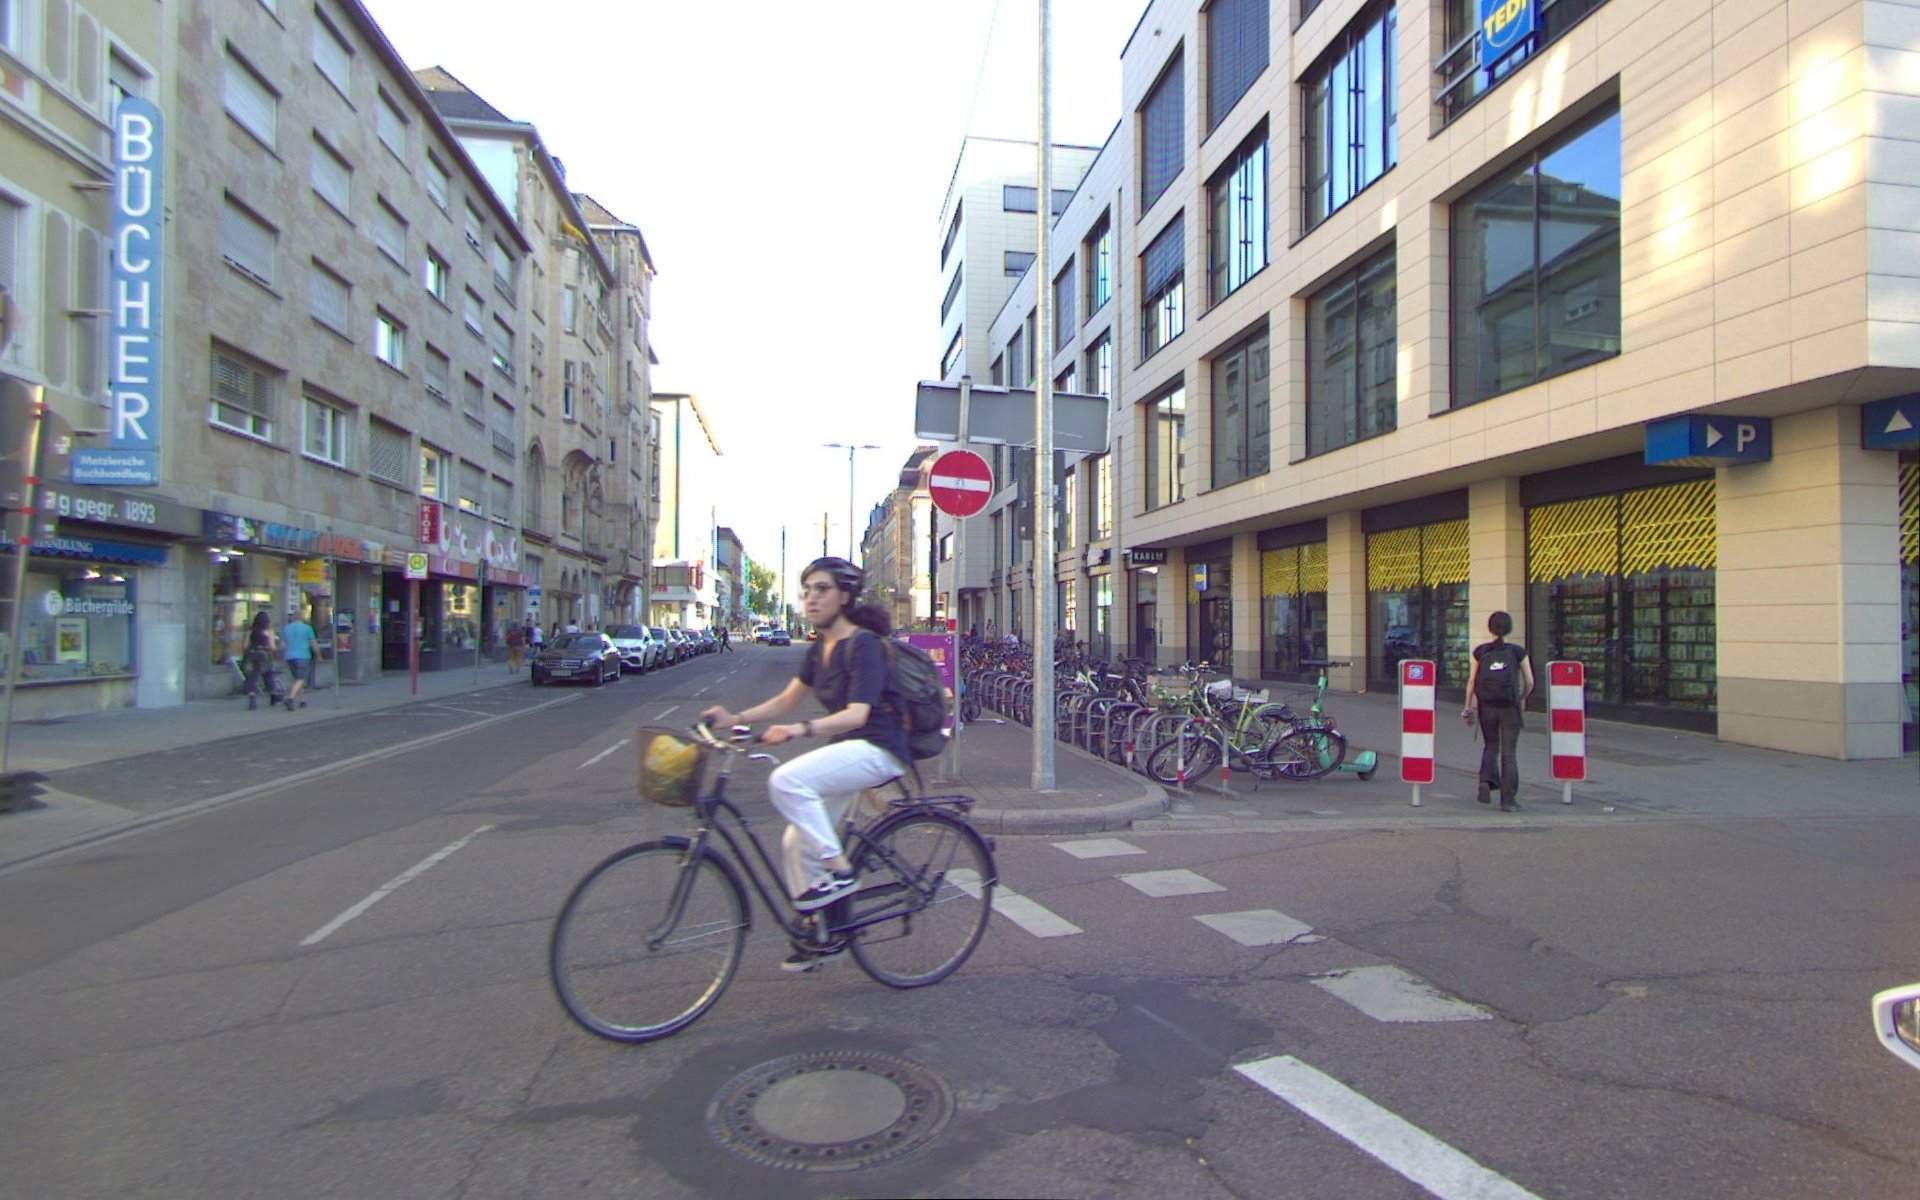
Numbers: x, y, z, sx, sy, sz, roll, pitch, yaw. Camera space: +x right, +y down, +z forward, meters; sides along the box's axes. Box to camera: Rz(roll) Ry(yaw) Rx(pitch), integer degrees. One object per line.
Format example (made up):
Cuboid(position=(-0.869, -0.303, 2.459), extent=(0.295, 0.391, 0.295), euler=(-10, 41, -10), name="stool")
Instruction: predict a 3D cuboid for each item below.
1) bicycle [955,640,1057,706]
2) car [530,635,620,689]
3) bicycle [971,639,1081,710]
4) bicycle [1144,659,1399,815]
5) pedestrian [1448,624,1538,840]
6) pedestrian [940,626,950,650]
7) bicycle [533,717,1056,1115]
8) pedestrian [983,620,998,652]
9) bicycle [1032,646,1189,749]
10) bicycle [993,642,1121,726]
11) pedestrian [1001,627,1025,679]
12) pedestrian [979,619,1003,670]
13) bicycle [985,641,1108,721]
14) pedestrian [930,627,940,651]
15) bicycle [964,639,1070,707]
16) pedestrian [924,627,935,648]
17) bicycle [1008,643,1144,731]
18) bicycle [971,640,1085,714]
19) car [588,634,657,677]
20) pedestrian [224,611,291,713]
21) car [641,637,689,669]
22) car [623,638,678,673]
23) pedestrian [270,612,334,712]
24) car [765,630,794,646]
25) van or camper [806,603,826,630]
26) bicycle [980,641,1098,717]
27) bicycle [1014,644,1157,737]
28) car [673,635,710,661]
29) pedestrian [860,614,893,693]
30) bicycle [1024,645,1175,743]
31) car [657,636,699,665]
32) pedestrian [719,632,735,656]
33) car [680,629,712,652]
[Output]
Cuboid(position=(0.903, 1.451, 19.939), extent=(1.944, 1.271, 0.512), euler=(1, -1, -11), name="bicycle")
Cuboid(position=(-11.065, 1.743, 29.118), extent=(1.831, 1.409, 3.991), euler=(0, -2, -12), name="car")
Cuboid(position=(1.222, 1.379, 18.551), extent=(1.944, 1.271, 0.512), euler=(1, -1, -11), name="bicycle")
Cuboid(position=(2.745, 1.176, 8.881), extent=(2.104, 1.271, 0.664), euler=(1, -1, -13), name="bicycle")
Cuboid(position=(4.460, 1.044, 8.391), extent=(0.608, 1.680, 0.870), euler=(0, -1, 32), name="pedestrian")
Cuboid(position=(-1.074, 2.735, 71.859), extent=(0.672, 1.718, 0.643), euler=(0, -1, -10), name="pedestrian")
Cuboid(position=(-0.598, 1.062, 3.777), extent=(1.794, 1.153, 0.663), euler=(1, -1, -21), name="bicycle")
Cuboid(position=(1.659, 1.940, 54.533), extent=(0.672, 1.718, 0.643), euler=(0, -1, -10), name="pedestrian")
Cuboid(position=(1.949, 1.253, 13.021), extent=(1.944, 1.271, 0.512), euler=(1, -1, -11), name="bicycle")
Cuboid(position=(1.535, 1.320, 15.878), extent=(1.945, 1.271, 0.512), euler=(1, -1, -13), name="bicycle")
Cuboid(position=(1.758, 1.759, 33.369), extent=(0.672, 1.718, 0.643), euler=(0, -1, -10), name="pedestrian")
Cuboid(position=(1.036, 1.492, 33.767), extent=(0.672, 1.718, 0.643), euler=(0, -1, -10), name="pedestrian")
Cuboid(position=(1.417, 1.328, 16.498), extent=(1.944, 1.271, 0.512), euler=(1, -1, -11), name="bicycle")
Cuboid(position=(-1.788, 2.797, 71.549), extent=(0.672, 1.682, 0.643), euler=(0, -1, -10), name="pedestrian")
Cuboid(position=(1.085, 1.393, 19.219), extent=(1.944, 1.271, 0.512), euler=(1, -1, -11), name="bicycle")
Cuboid(position=(-2.079, 2.573, 68.884), extent=(0.672, 1.444, 0.643), euler=(0, -1, -10), name="pedestrian")
Cuboid(position=(1.738, 1.297, 15.067), extent=(1.944, 1.271, 0.512), euler=(1, -1, -11), name="bicycle")
Cuboid(position=(1.212, 1.372, 17.872), extent=(1.944, 1.271, 0.512), euler=(1, -1, -11), name="bicycle")
Cuboid(position=(-12.116, 1.962, 36.322), extent=(1.831, 1.409, 4.613), euler=(0, -2, -12), name="car")
Cuboid(position=(-12.341, 1.077, 17.663), extent=(0.653, 1.729, 0.802), euler=(1, -1, -10), name="pedestrian")
Cuboid(position=(-13.725, 2.425, 46.956), extent=(1.831, 1.409, 3.991), euler=(0, -2, -12), name="car")
Cuboid(position=(-13.037, 2.311, 42.491), extent=(1.831, 1.409, 3.991), euler=(0, -2, -12), name="car")
Cuboid(position=(-11.688, 1.082, 17.862), extent=(0.653, 1.729, 0.802), euler=(1, -1, -10), name="pedestrian")
Cuboid(position=(-15.683, 3.270, 86.971), extent=(1.968, 1.372, 3.985), euler=(1, -2, -17), name="car")
Cuboid(position=(-17.990, 2.041, 125.753), extent=(1.961, 3.317, 5.161), euler=(0, -1, -3), name="van or camper")
Cuboid(position=(1.357, 1.359, 17.283), extent=(1.944, 1.271, 0.512), euler=(1, -1, -11), name="bicycle")
Cuboid(position=(1.788, 1.275, 14.300), extent=(1.944, 1.271, 0.512), euler=(1, -1, -11), name="bicycle")
Cuboid(position=(-15.229, 2.684, 57.153), extent=(1.831, 1.409, 3.991), euler=(0, -2, -12), name="car")
Cuboid(position=(-1.830, 1.160, 21.958), extent=(0.671, 1.718, 0.644), euler=(0, -1, -7), name="pedestrian")
Cuboid(position=(1.883, 1.266, 13.589), extent=(1.944, 1.271, 0.512), euler=(1, -1, -11), name="bicycle")
Cuboid(position=(-14.531, 2.564, 51.917), extent=(1.831, 1.409, 3.991), euler=(0, -2, -12), name="car")
Cuboid(position=(-14.366, 2.704, 61.922), extent=(0.907, 1.447, 0.401), euler=(0, -1, -14), name="pedestrian")
Cuboid(position=(-16.884, 2.594, 64.380), extent=(1.831, 1.409, 3.991), euler=(0, -2, -12), name="car")
